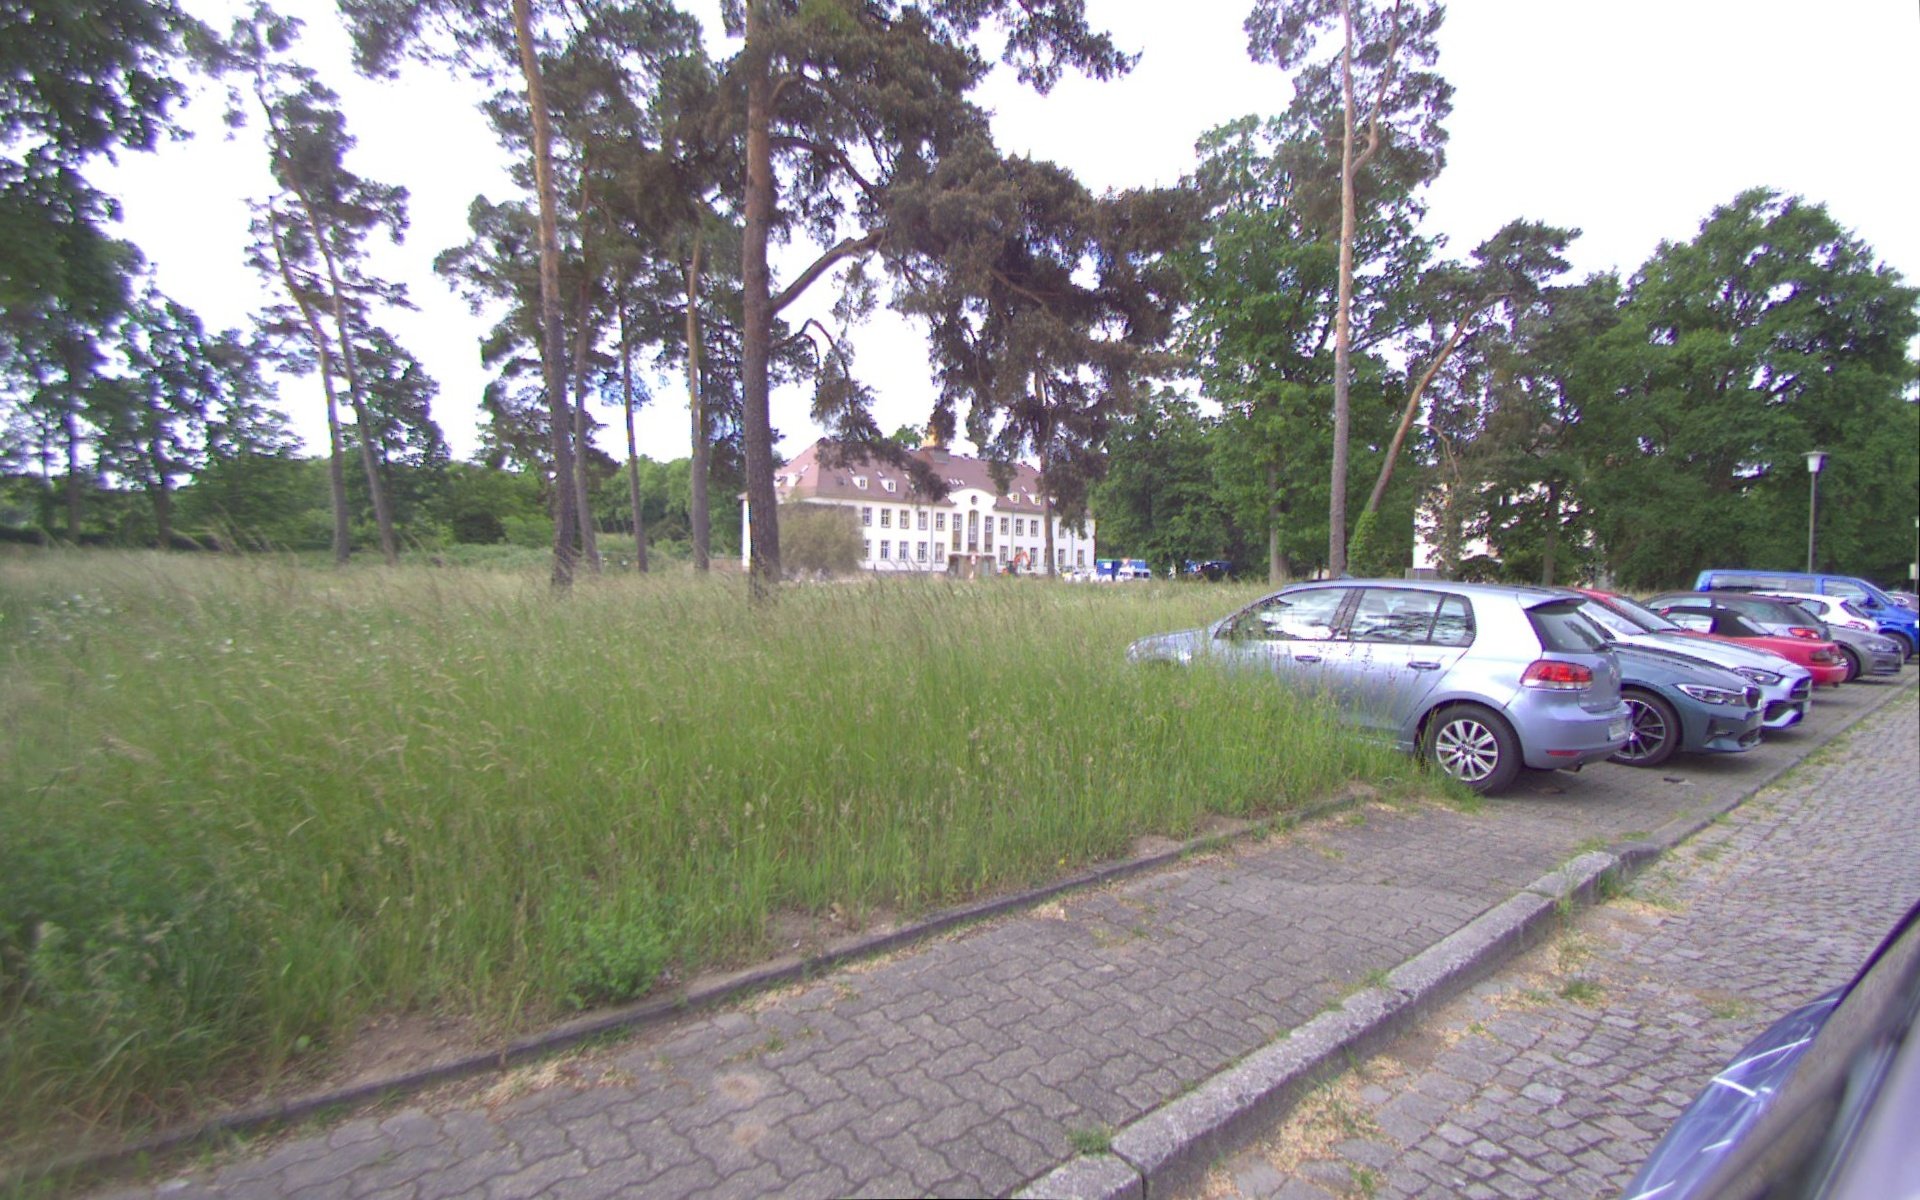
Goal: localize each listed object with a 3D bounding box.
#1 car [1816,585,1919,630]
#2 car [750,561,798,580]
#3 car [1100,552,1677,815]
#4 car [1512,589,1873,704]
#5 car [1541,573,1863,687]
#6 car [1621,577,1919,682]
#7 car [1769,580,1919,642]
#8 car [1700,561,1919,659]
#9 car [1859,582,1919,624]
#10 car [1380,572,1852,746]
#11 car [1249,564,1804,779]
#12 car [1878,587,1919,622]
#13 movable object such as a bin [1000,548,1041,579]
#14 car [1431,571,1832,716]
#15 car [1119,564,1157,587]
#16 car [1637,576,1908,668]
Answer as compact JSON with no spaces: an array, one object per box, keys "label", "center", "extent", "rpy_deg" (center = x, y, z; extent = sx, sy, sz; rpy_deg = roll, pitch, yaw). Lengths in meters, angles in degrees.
[{"label":"car","center":[34.308,0.303,37.206],"extent":[1.696,1.462,4.084],"rpy_deg":[0,3,-40]},{"label":"car","center":[-20.158,-3.216,109.559],"extent":[5.778,1.985,2.160],"rpy_deg":[2,2,44]},{"label":"car","center":[3.280,0.455,8.372],"extent":[1.669,1.446,4.008],"rpy_deg":[0,5,-43]},{"label":"car","center":[10.630,0.576,14.949],"extent":[1.522,1.255,4.049],"rpy_deg":[0,3,-41]},{"label":"car","center":[12.306,0.406,17.014],"extent":[1.571,1.535,4.051],"rpy_deg":[0,3,-39]},{"label":"car","center":[14.730,0.440,18.463],"extent":[1.669,1.535,4.099],"rpy_deg":[0,3,-39]},{"label":"car","center":[26.956,0.307,30.215],"extent":[1.624,1.612,4.085],"rpy_deg":[0,3,-39]},{"label":"car","center":[20.691,0.166,24.094],"extent":[1.878,2.030,4.602],"rpy_deg":[-1,4,-40]},{"label":"car","center":[41.968,0.174,43.898],"extent":[1.693,1.715,4.090],"rpy_deg":[1,3,-34]},{"label":"car","center":[7.348,0.512,11.741],"extent":[1.686,1.491,4.248],"rpy_deg":[0,3,-39]},{"label":"car","center":[5.292,0.494,9.994],"extent":[1.636,1.400,4.436],"rpy_deg":[0,5,-43]},{"label":"car","center":[45.492,0.272,46.868],"extent":[1.693,1.552,4.100],"rpy_deg":[1,3,-34]},{"label":"movable object such as a bin","center":[7.496,-4.532,126.138],"extent":[2.015,3.816,5.460],"rpy_deg":[-1,2,-38]},{"label":"car","center":[8.877,0.452,13.689],"extent":[1.687,1.500,4.182],"rpy_deg":[0,3,-41]},{"label":"car","center":[19.273,-2.674,109.495],"extent":[4.371,2.394,1.860],"rpy_deg":[-1,2,-42]},{"label":"car","center":[16.528,0.375,20.767],"extent":[1.571,1.535,4.051],"rpy_deg":[0,3,-39]}]
